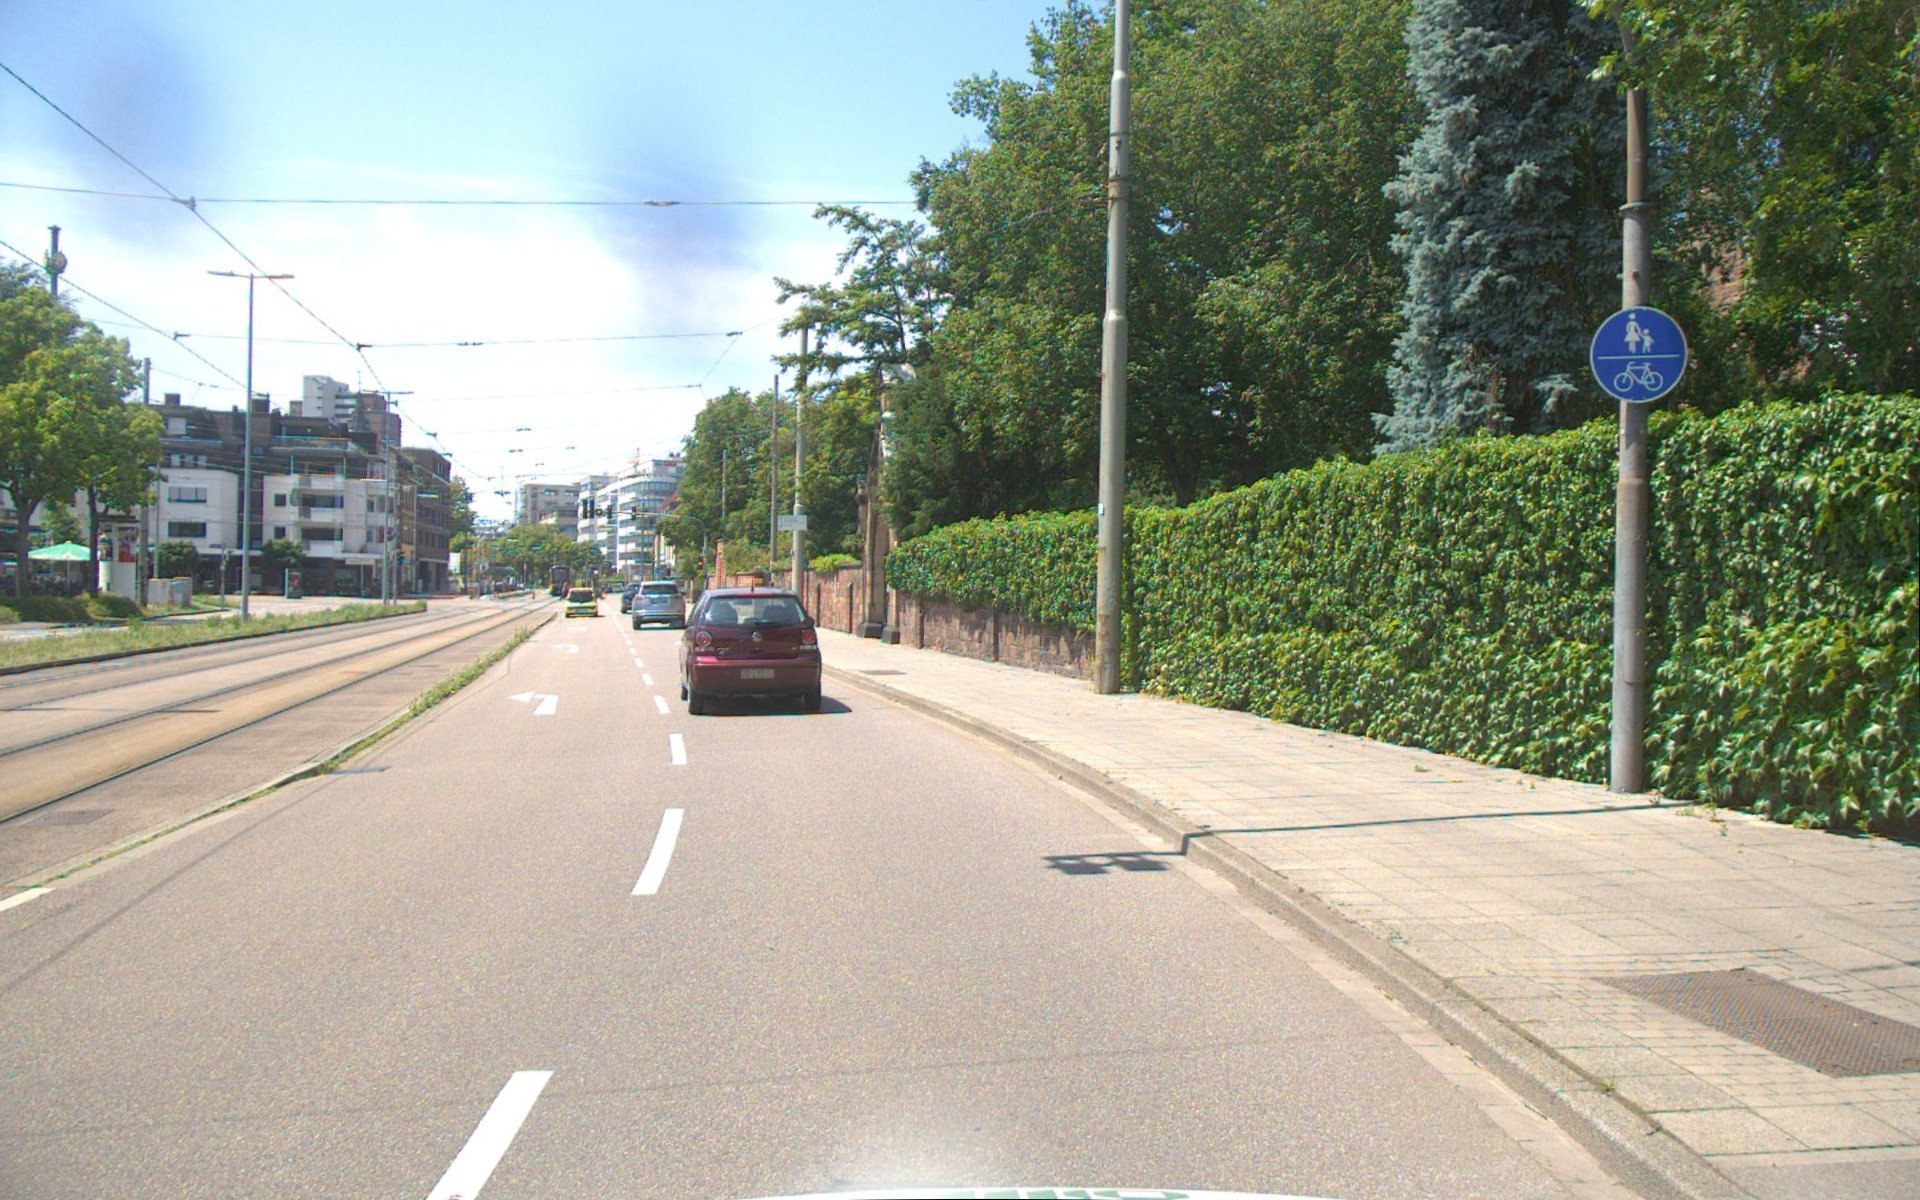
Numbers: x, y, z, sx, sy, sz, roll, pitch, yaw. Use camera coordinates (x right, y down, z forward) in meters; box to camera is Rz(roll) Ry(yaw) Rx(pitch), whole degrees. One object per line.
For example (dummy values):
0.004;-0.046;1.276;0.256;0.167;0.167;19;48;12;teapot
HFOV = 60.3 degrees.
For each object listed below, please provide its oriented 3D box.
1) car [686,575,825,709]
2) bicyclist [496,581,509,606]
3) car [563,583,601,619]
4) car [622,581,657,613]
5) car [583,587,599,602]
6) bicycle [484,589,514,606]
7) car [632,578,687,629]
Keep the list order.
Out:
-2.666;0.469;20.934;1.580;1.524;3.991;0;0;-10;car
-39.944;-0.588;144.493;0.944;2.128;0.846;0;0;-25;bicyclist
-19.006;0.033;83.250;1.764;1.712;3.988;2;0;-12;car
-17.249;-0.176;89.068;1.742;1.659;3.990;2;0;-10;car
-33.258;-0.511;149.228;1.330;1.274;2.963;2;0;-12;car
-40.263;-0.242;144.346;2.478;1.444;0.632;0;0;-26;bicycle
-10.628;0.103;58.390;1.764;1.712;3.988;2;0;-12;car
